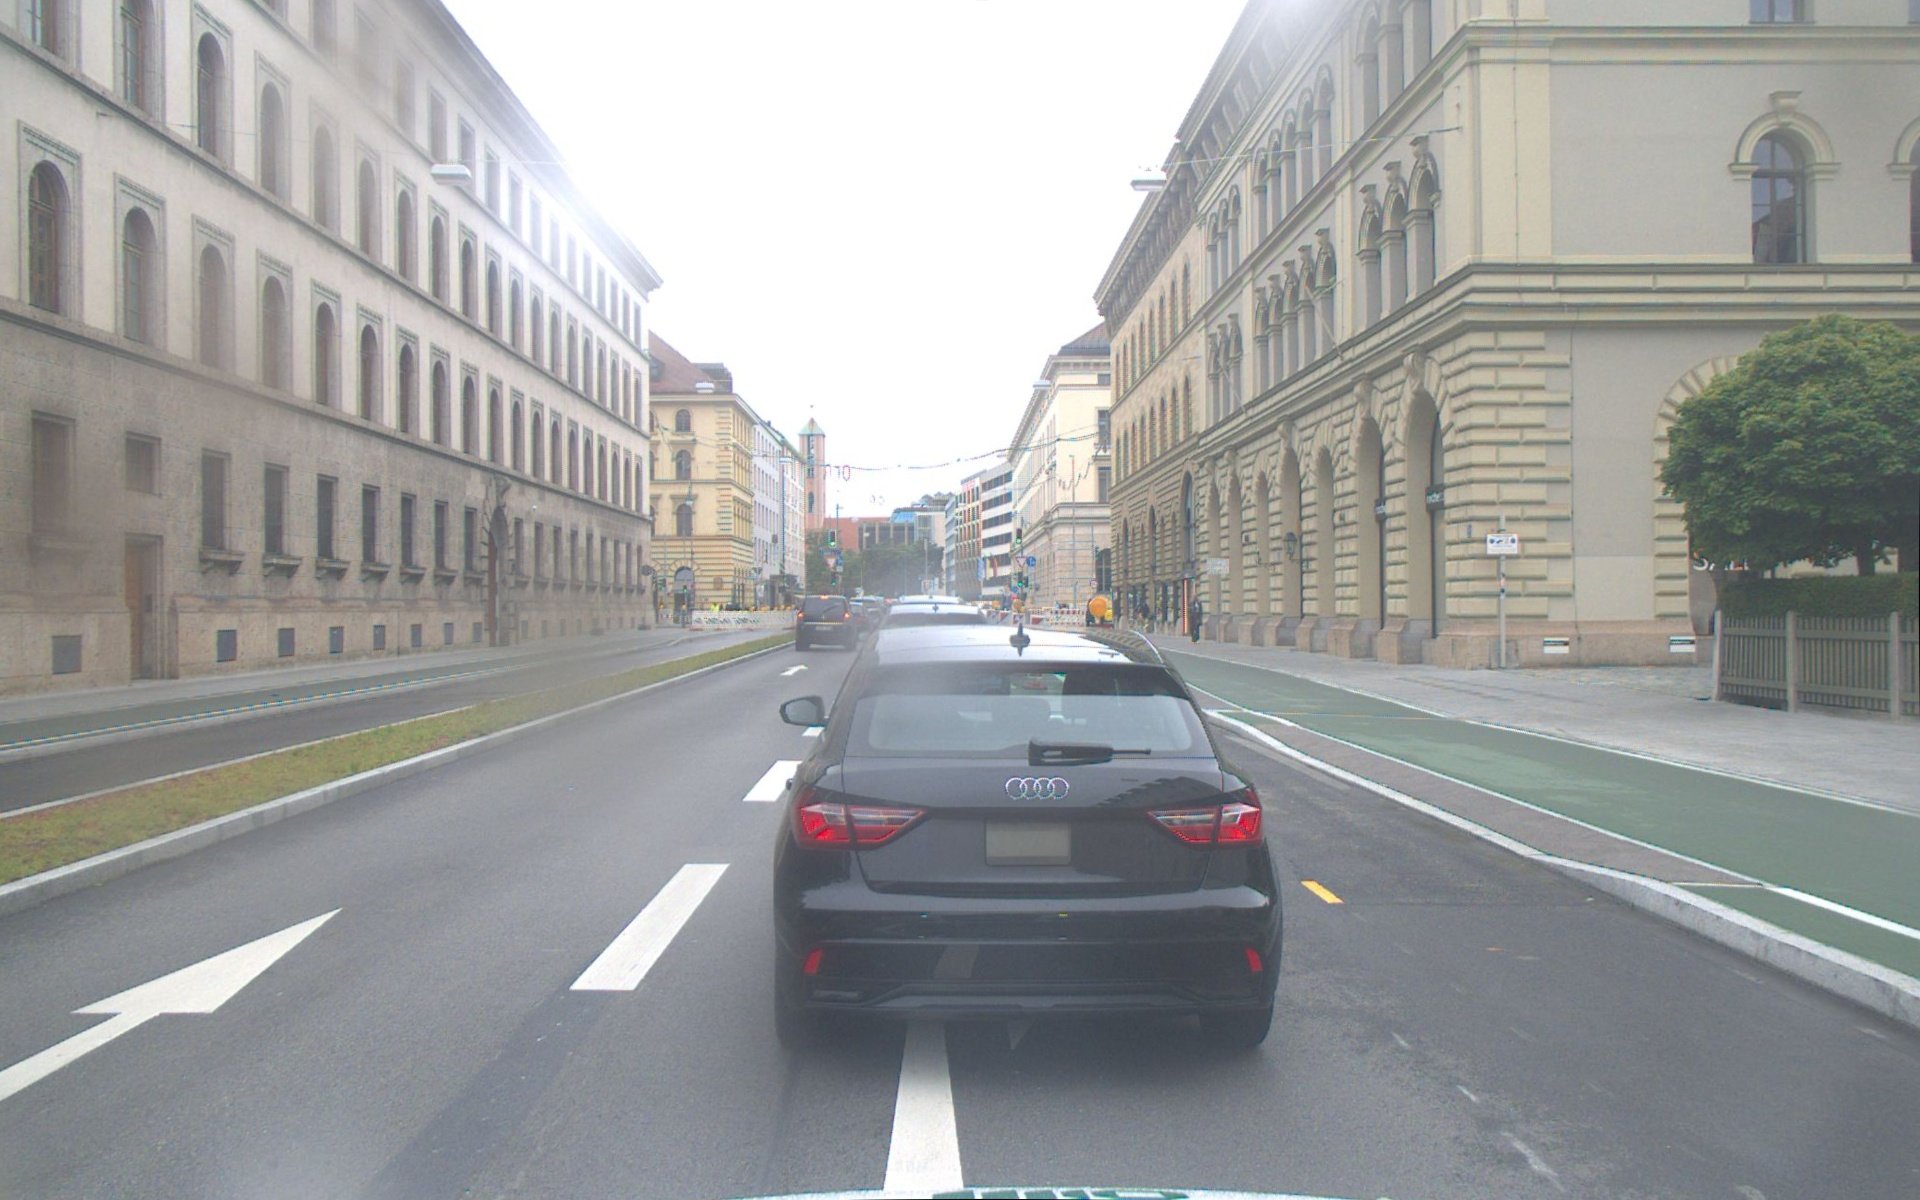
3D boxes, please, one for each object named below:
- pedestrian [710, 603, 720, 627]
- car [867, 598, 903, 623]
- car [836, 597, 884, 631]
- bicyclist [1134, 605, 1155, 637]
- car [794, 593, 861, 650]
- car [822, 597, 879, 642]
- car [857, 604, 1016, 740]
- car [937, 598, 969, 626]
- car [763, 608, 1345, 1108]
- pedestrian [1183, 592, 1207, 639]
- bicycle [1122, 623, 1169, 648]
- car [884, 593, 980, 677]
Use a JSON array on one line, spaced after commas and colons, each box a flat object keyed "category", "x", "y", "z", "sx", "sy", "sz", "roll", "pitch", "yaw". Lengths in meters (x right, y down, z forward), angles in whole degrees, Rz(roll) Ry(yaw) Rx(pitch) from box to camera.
[{"category": "pedestrian", "x": -18.292, "y": 1.111, "z": 123.501, "sx": 0.642, "sy": 1.836, "sz": 0.727, "roll": 0, "pitch": 0, "yaw": -2}, {"category": "car", "x": -4.411, "y": 0.604, "z": 97.784, "sx": 1.953, "sy": 1.469, "sz": 3.999, "roll": 0, "pitch": 0, "yaw": -1}, {"category": "car", "x": -4.453, "y": 0.625, "z": 73.955, "sx": 1.953, "sy": 1.469, "sz": 3.999, "roll": 0, "pitch": 0, "yaw": -1}, {"category": "bicyclist", "x": 8.757, "y": 0.984, "z": 78.391, "sx": 0.738, "sy": 1.526, "sz": 0.710, "roll": -1, "pitch": 0, "yaw": 33}, {"category": "car", "x": -3.947, "y": 0.619, "z": 49.800, "sx": 1.729, "sy": 1.644, "sz": 4.029, "roll": 1, "pitch": 0, "yaw": -1}, {"category": "car", "x": -4.138, "y": 0.716, "z": 63.235, "sx": 1.953, "sy": 1.656, "sz": 3.999, "roll": 0, "pitch": 0, "yaw": -1}, {"category": "car", "x": -0.291, "y": 0.783, "z": 19.860, "sx": 1.695, "sy": 1.427, "sz": 3.999, "roll": 1, "pitch": 0, "yaw": -1}, {"category": "car", "x": -0.470, "y": 0.739, "z": 101.997, "sx": 1.910, "sy": 1.691, "sz": 3.999, "roll": 1, "pitch": -1, "yaw": -1}, {"category": "car", "x": 0.244, "y": 0.774, "z": 6.872, "sx": 1.695, "sy": 1.427, "sz": 3.999, "roll": 1, "pitch": 0, "yaw": -1}, {"category": "pedestrian", "x": 8.225, "y": 0.539, "z": 57.849, "sx": 0.695, "sy": 1.646, "sz": 0.754, "roll": 0, "pitch": 0, "yaw": -2}, {"category": "bicycle", "x": 8.774, "y": 1.676, "z": 78.374, "sx": 2.126, "sy": 1.176, "sz": 0.728, "roll": -1, "pitch": 0, "yaw": 34}, {"category": "car", "x": -0.531, "y": 0.622, "z": 31.486, "sx": 1.695, "sy": 1.486, "sz": 3.999, "roll": 1, "pitch": 0, "yaw": -1}]
